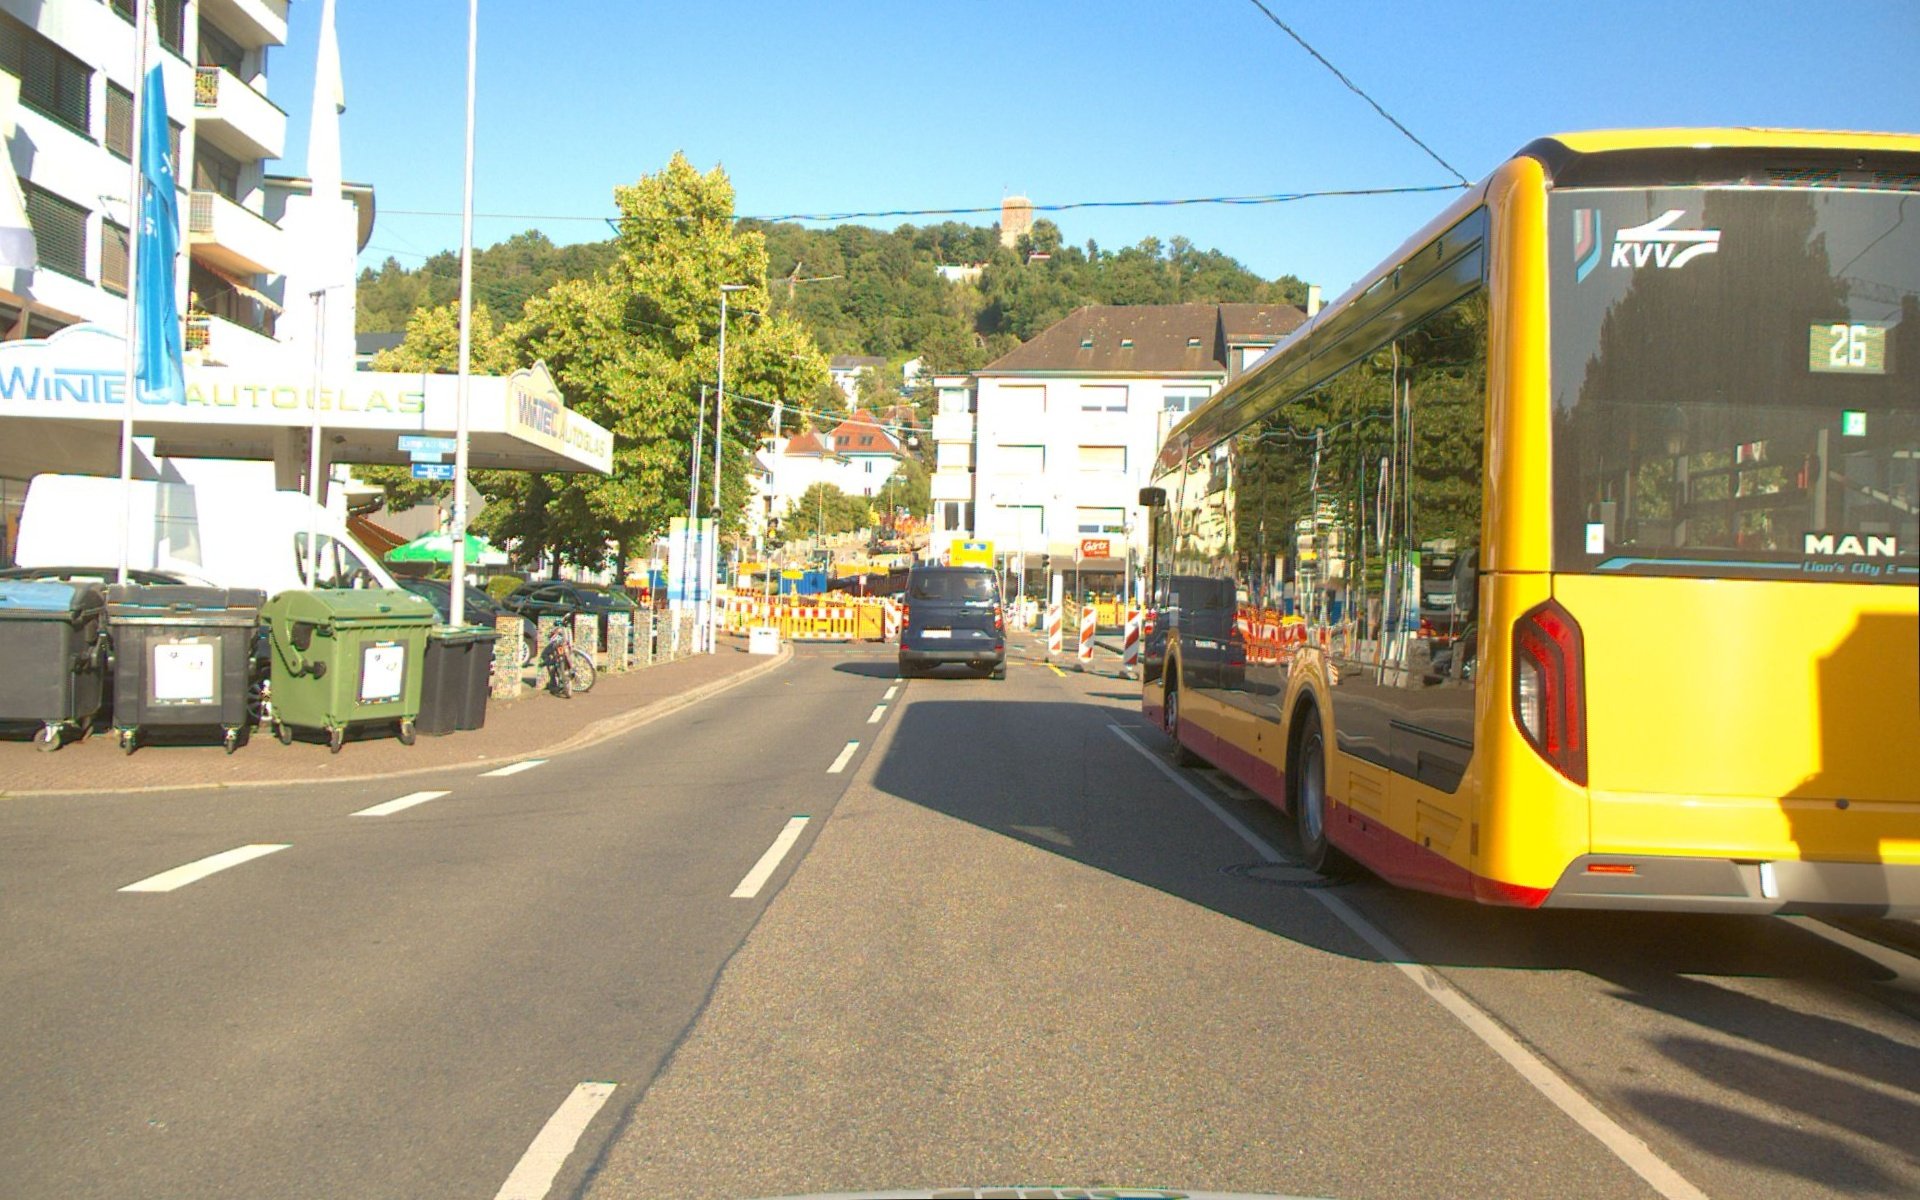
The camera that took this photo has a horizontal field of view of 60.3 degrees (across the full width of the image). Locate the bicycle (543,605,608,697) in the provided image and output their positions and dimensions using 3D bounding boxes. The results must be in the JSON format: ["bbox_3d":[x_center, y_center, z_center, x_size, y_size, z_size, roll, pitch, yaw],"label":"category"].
[{"bbox_3d":[-5.252,0.674,22.662,0.710,1.198,1.777,1,0,-9],"label":"bicycle"}]

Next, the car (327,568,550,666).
[{"bbox_3d":[-9.004,0.299,28.751,1.591,1.596,3.377,1,0,38],"label":"car"}]

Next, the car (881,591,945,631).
[{"bbox_3d":[-1.778,0.401,61.653,1.762,1.434,3.990,1,0,-11],"label":"car"}]

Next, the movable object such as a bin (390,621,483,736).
[{"bbox_3d":[-5.333,0.789,16.864,0.646,1.081,0.585,4,2,12],"label":"movable object such as a bin"}]

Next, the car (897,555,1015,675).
[{"bbox_3d":[-0.074,0.277,31.150,2.019,2.049,4.999,1,-1,0],"label":"car"}]

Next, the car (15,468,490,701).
[{"bbox_3d":[-8.446,-0.128,20.161,4.984,2.512,2.095,2,0,-22],"label":"car"}]

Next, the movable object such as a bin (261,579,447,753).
[{"bbox_3d":[-5.772,0.588,15.801,1.035,1.508,1.311,3,3,28],"label":"movable object such as a bin"}]

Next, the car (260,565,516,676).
[{"bbox_3d":[-8.783,0.315,25.555,1.594,1.596,3.371,1,0,43],"label":"car"}]

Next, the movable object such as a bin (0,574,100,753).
[{"bbox_3d":[-8.355,0.542,14.573,1.194,1.508,0.704,1,3,-5],"label":"movable object such as a bin"}]

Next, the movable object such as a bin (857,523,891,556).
[{"bbox_3d":[-7.678,-5.394,147.969,2.144,2.737,4.003,1,0,11],"label":"movable object such as a bin"}]

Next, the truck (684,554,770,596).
[{"bbox_3d":[-14.388,-1.518,102.951,2.306,2.458,9.159,1,0,12],"label":"truck"}]

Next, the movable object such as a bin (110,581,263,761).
[{"bbox_3d":[-6.901,0.606,14.756,1.204,1.508,0.697,0,3,-29],"label":"movable object such as a bin"}]

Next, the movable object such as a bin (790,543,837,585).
[{"bbox_3d":[-10.033,-2.468,113.459,2.144,2.737,4.003,1,0,11],"label":"movable object such as a bin"}]

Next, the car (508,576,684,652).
[{"bbox_3d":[-8.201,0.291,37.067,1.896,1.480,4.244,2,0,-44],"label":"car"}]

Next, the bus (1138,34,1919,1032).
[{"bbox_3d":[3.260,-0.248,11.829,2.633,3.476,12.018,1,0,0],"label":"bus"}]

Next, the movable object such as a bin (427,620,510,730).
[{"bbox_3d":[-5.190,0.783,17.476,0.626,1.088,0.581,2,3,12],"label":"movable object such as a bin"}]

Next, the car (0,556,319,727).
[{"bbox_3d":[-8.904,0.400,17.193,3.920,1.595,1.766,2,0,-15],"label":"car"}]
